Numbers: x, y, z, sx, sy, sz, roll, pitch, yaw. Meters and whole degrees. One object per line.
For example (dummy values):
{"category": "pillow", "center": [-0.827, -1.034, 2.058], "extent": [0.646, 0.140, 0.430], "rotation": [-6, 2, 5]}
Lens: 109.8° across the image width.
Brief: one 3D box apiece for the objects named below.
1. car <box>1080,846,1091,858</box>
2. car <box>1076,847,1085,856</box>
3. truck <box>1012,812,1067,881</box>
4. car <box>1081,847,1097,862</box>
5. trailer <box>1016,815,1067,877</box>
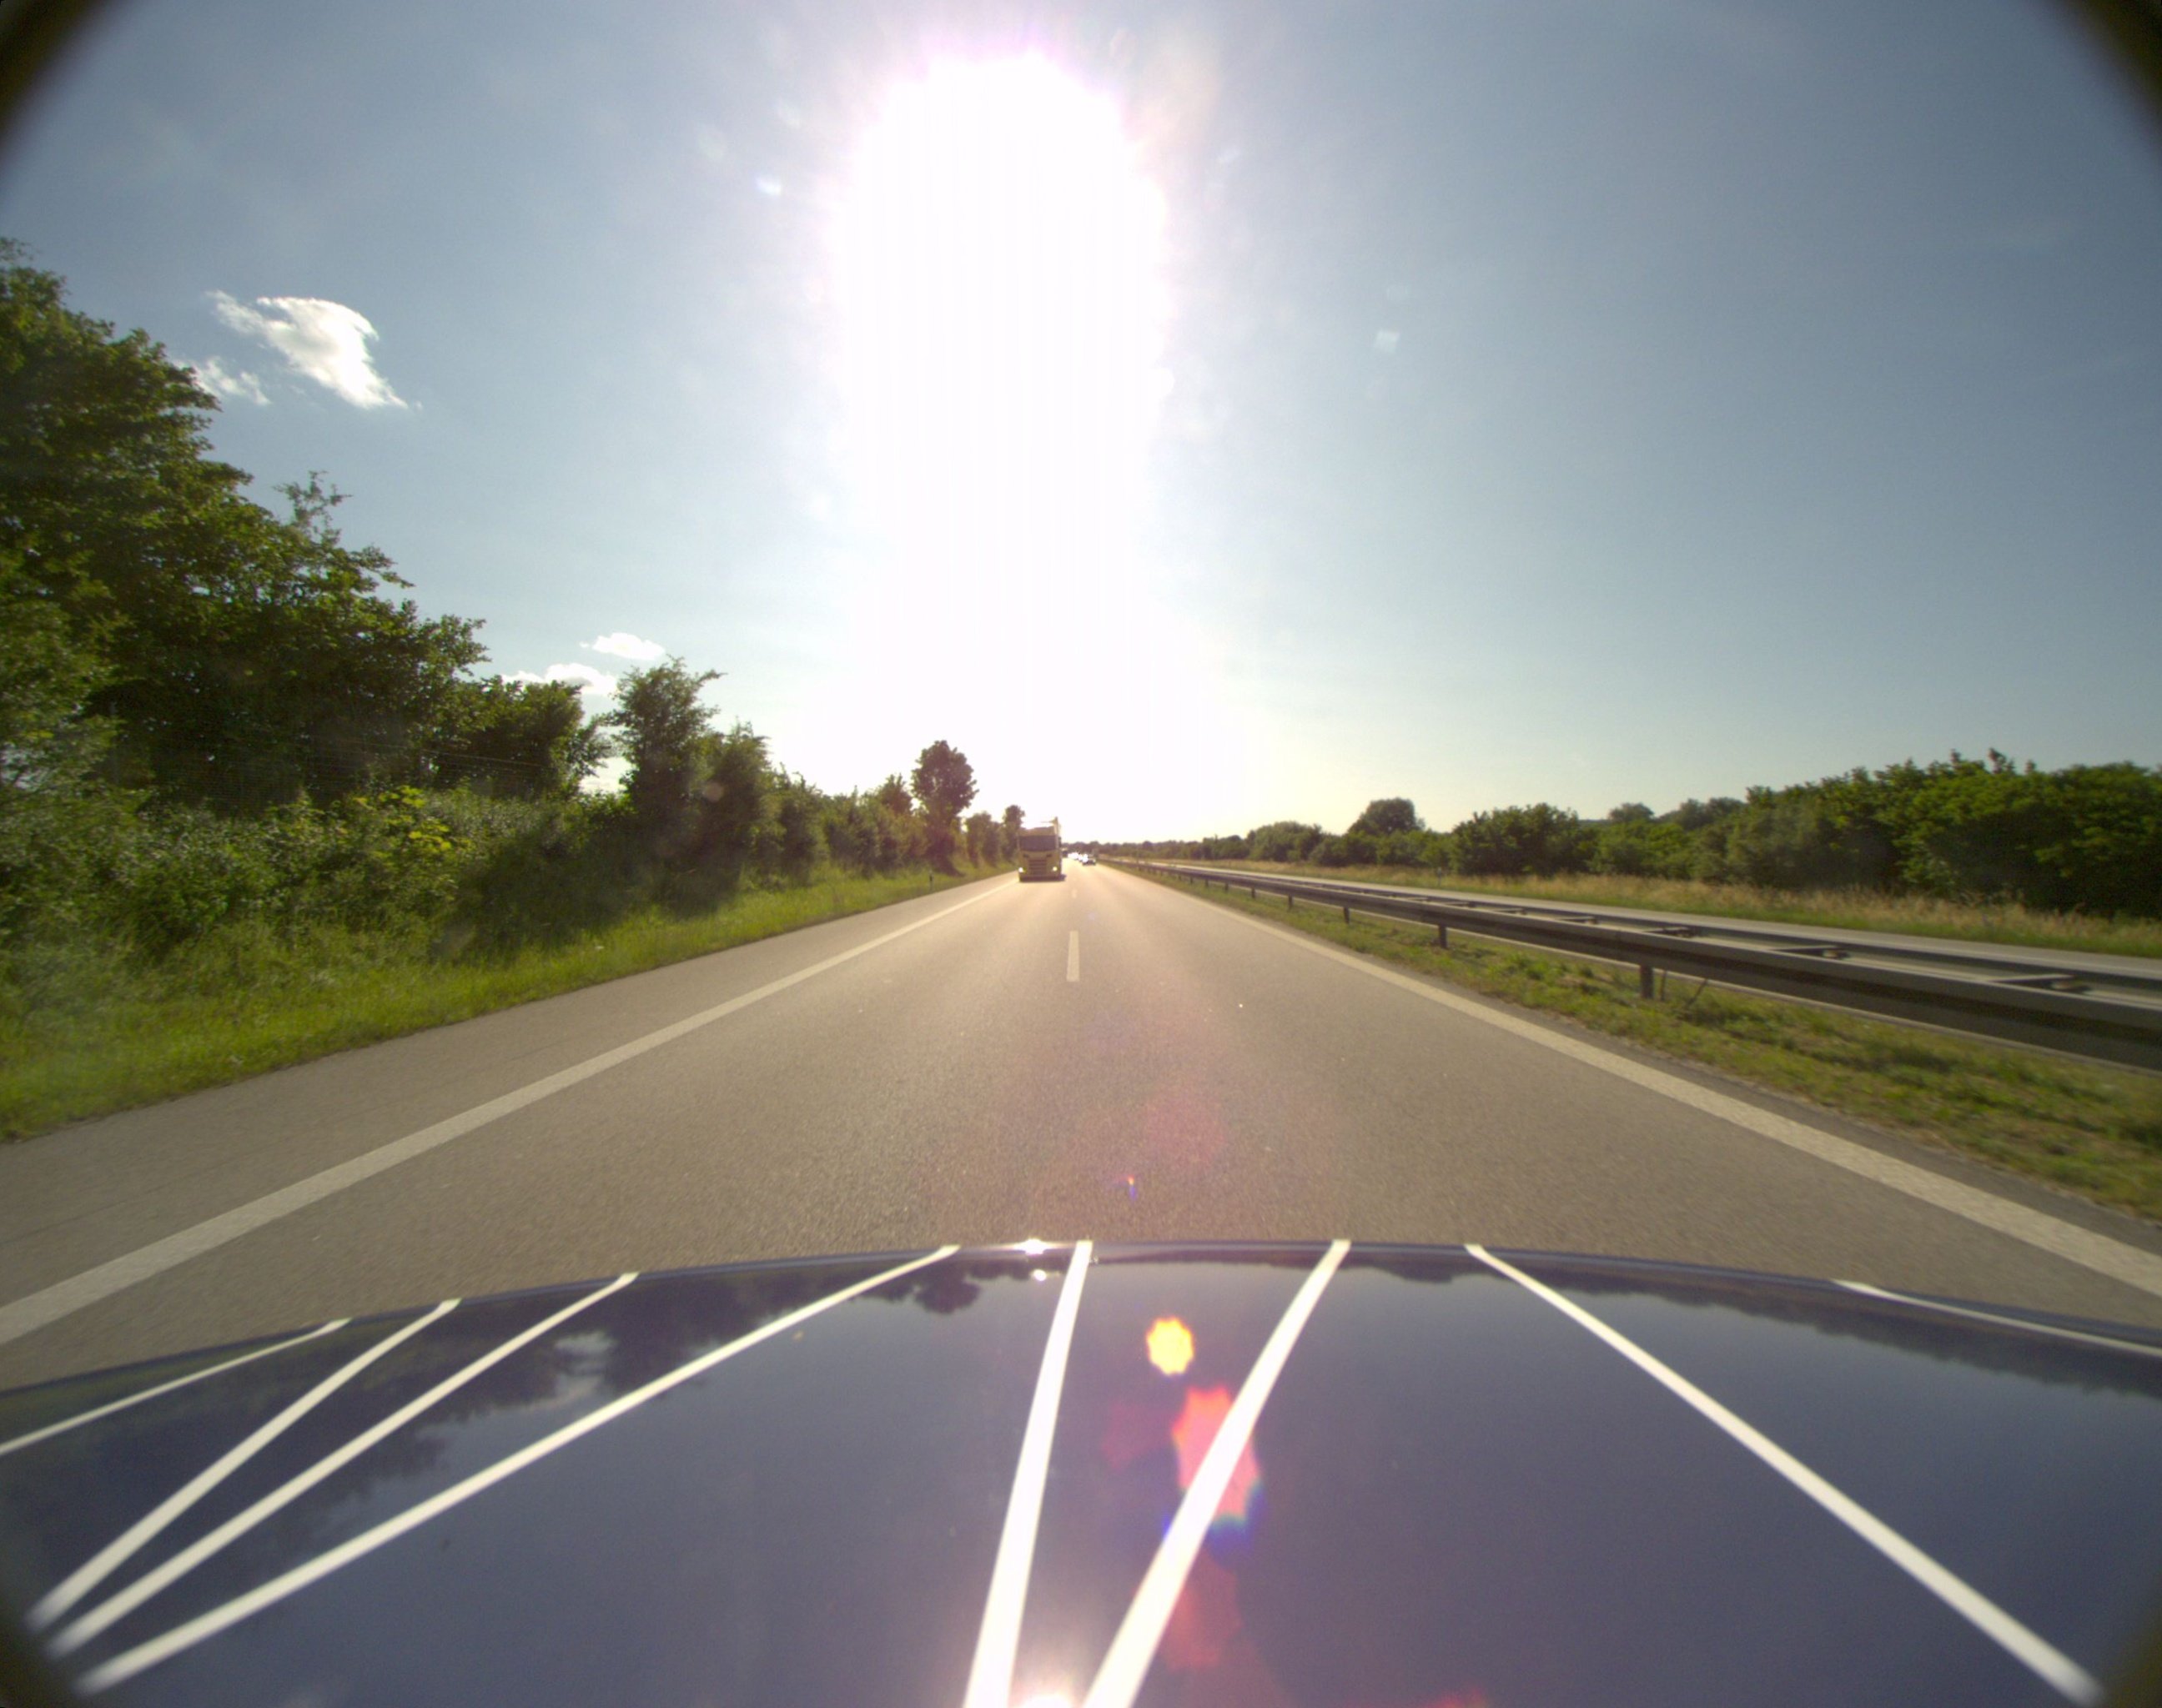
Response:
{"category": "car", "center": [0.809, -0.382, 141.711], "extent": [1.998, 2.002, 3.999], "rotation": [-2, 1, 1]}
{"category": "car", "center": [-0.050, -0.613, 185.464], "extent": [1.998, 2.002, 3.999], "rotation": [-2, 1, 1]}
{"category": "truck", "center": [-2.660, -0.493, 50.008], "extent": [3.177, 4.090, 6.386], "rotation": [-2, 1, -2]}
{"category": "car", "center": [1.091, 0.041, 103.437], "extent": [1.999, 2.002, 4.357], "rotation": [-2, 1, -1]}
{"category": "trailer", "center": [-2.771, -0.581, 57.454], "extent": [3.193, 4.036, 13.183], "rotation": [-2, 1, -1]}
